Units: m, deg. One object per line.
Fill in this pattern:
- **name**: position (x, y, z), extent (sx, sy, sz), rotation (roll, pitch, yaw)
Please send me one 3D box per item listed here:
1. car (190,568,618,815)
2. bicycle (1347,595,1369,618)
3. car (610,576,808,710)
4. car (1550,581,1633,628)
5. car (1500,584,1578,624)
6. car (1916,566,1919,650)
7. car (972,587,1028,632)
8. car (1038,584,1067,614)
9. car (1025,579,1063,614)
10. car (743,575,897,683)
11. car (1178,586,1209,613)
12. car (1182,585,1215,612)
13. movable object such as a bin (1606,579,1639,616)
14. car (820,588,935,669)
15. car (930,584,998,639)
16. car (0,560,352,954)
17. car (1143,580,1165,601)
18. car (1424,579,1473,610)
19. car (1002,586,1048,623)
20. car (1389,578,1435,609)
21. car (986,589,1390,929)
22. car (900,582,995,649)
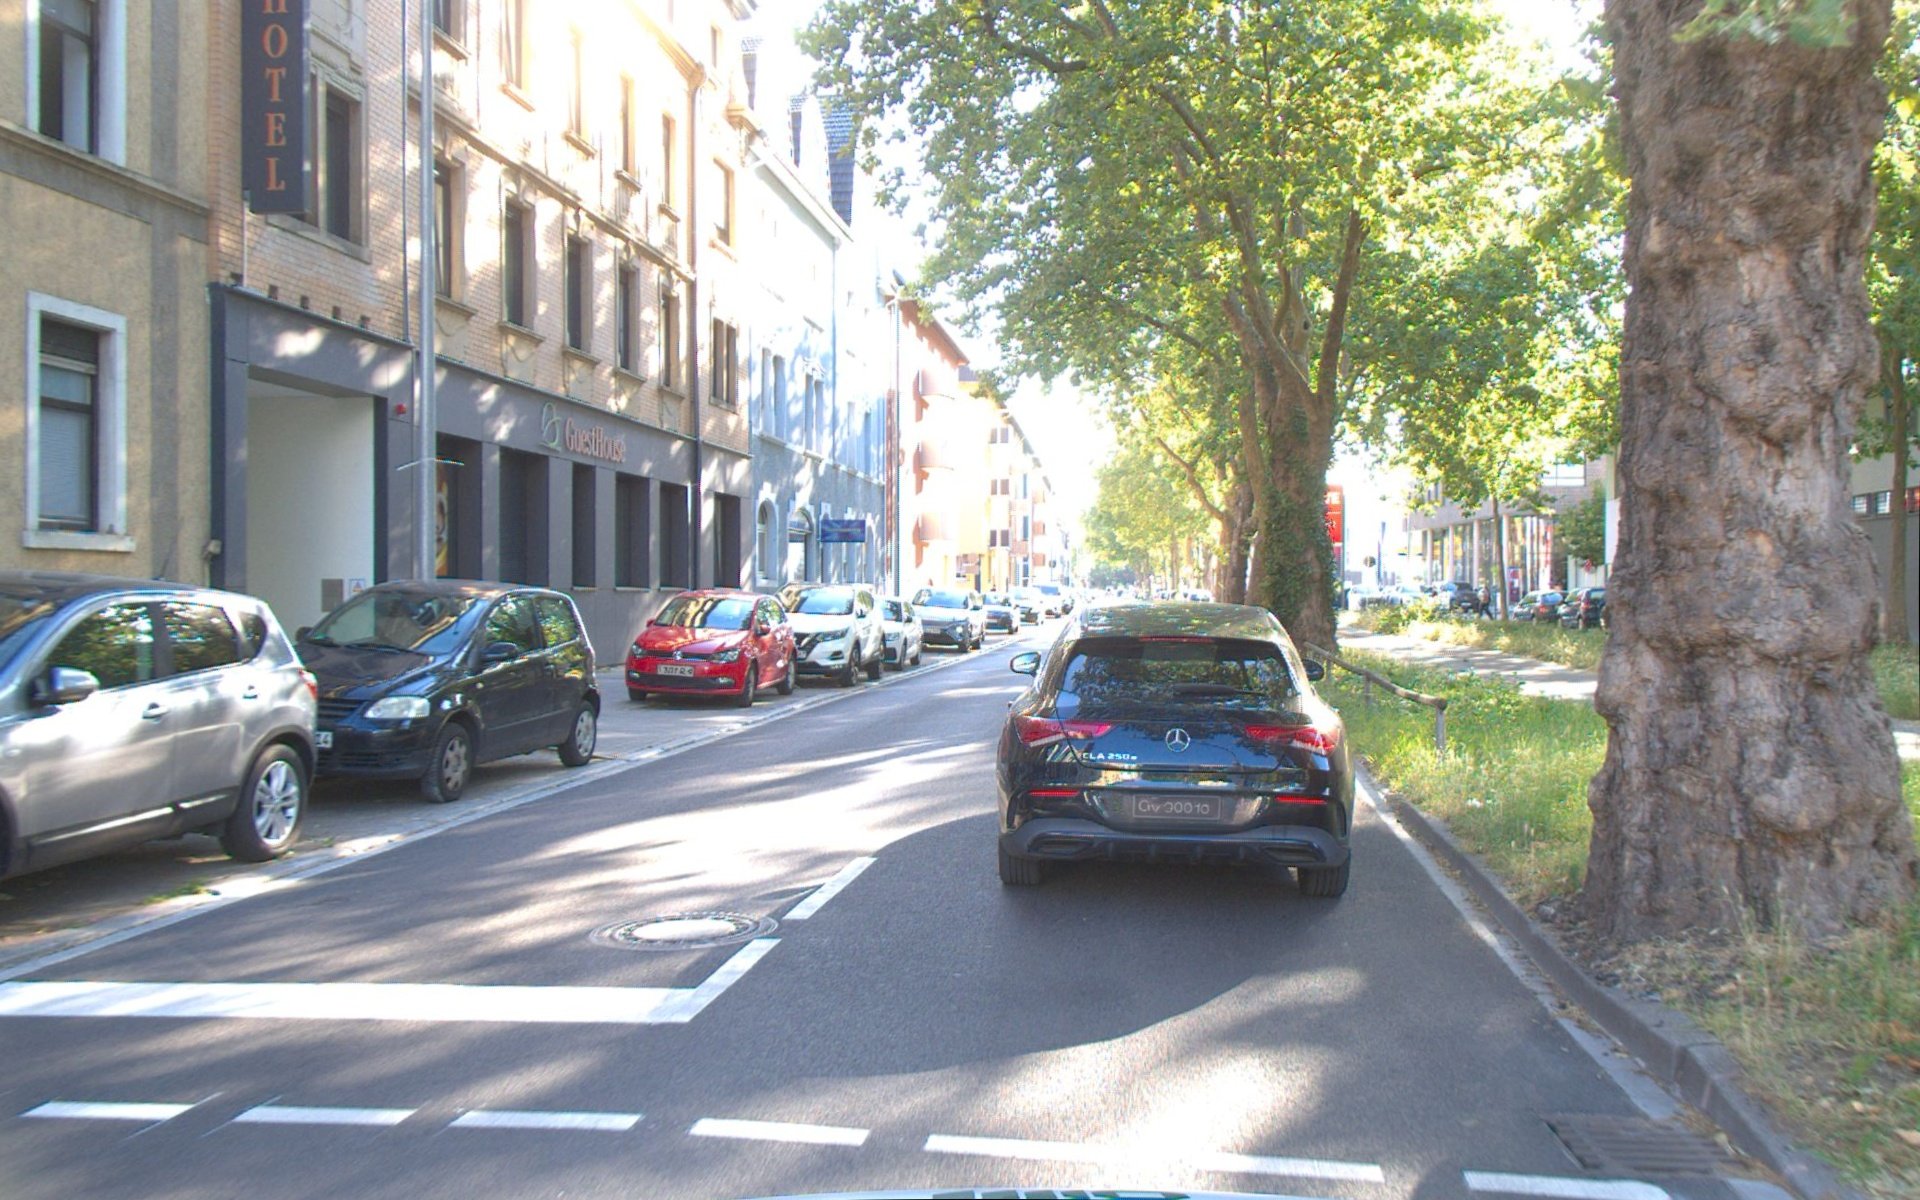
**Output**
- **car**: position (-4.208, 0.606, 13.165), extent (1.642, 1.633, 3.708), rotation (1, 1, 10)
- **bicycle**: position (17.855, 0.286, 74.215), extent (0.376, 1.021, 1.483), rotation (-1, 0, -10)
- **car**: position (-3.322, 0.517, 22.571), extent (1.642, 1.620, 3.759), rotation (1, 1, 8)
- **car**: position (21.883, 0.145, 57.454), extent (1.819, 1.580, 3.762), rotation (0, 0, 7)
- **car**: position (22.272, 0.138, 63.768), extent (1.820, 1.494, 4.126), rotation (0, 0, 5)
- **car**: position (18.657, 0.155, 28.898), extent (1.819, 1.569, 4.323), rotation (0, 0, 7)
- **car**: position (1.477, 0.322, 60.117), extent (1.642, 1.512, 3.604), rotation (1, 1, 8)
- **car**: position (5.942, -0.084, 106.024), extent (1.708, 1.819, 4.552), rotation (1, 1, 5)
- **car**: position (4.797, -0.216, 93.425), extent (1.697, 1.940, 5.213), rotation (1, 1, 8)
- **car**: position (-2.237, 0.427, 27.522), extent (1.642, 1.612, 4.203), rotation (1, 1, 8)
- **car**: position (14.547, -0.018, 103.267), extent (1.772, 1.565, 4.586), rotation (-3, -1, 7)
- **car**: position (13.859, -0.101, 96.369), extent (1.600, 1.493, 4.023), rotation (-2, 0, 5)
- **movable object such as a bin**: position (27.551, -0.111, 68.812), extent (1.168, 1.488, 1.408), rotation (0, 0, 18)
- **car**: position (-1.626, 0.537, 33.934), extent (1.642, 1.522, 3.875), rotation (1, 1, 8)
- **car**: position (0.159, 0.342, 53.041), extent (1.642, 1.670, 3.988), rotation (1, 1, 8)
- **car**: position (-4.887, 0.654, 8.205), extent (1.743, 1.702, 4.159), rotation (1, 1, 8)
- **car**: position (19.806, -0.987, 169.100), extent (1.952, 2.049, 4.001), rotation (1, -1, 2)
- **car**: position (28.703, -0.334, 97.371), extent (1.944, 1.764, 4.183), rotation (0, 0, 5)
- **car**: position (2.898, 0.177, 73.219), extent (1.642, 1.550, 4.024), rotation (1, 1, 8)
- **car**: position (26.683, -0.375, 97.776), extent (1.836, 1.764, 4.182), rotation (0, 0, 4)
- **car**: position (1.057, 0.702, 9.419), extent (1.709, 1.468, 3.969), rotation (1, 1, 0)
- **car**: position (-0.275, 0.372, 44.227), extent (1.867, 1.670, 4.581), rotation (1, 1, 8)
